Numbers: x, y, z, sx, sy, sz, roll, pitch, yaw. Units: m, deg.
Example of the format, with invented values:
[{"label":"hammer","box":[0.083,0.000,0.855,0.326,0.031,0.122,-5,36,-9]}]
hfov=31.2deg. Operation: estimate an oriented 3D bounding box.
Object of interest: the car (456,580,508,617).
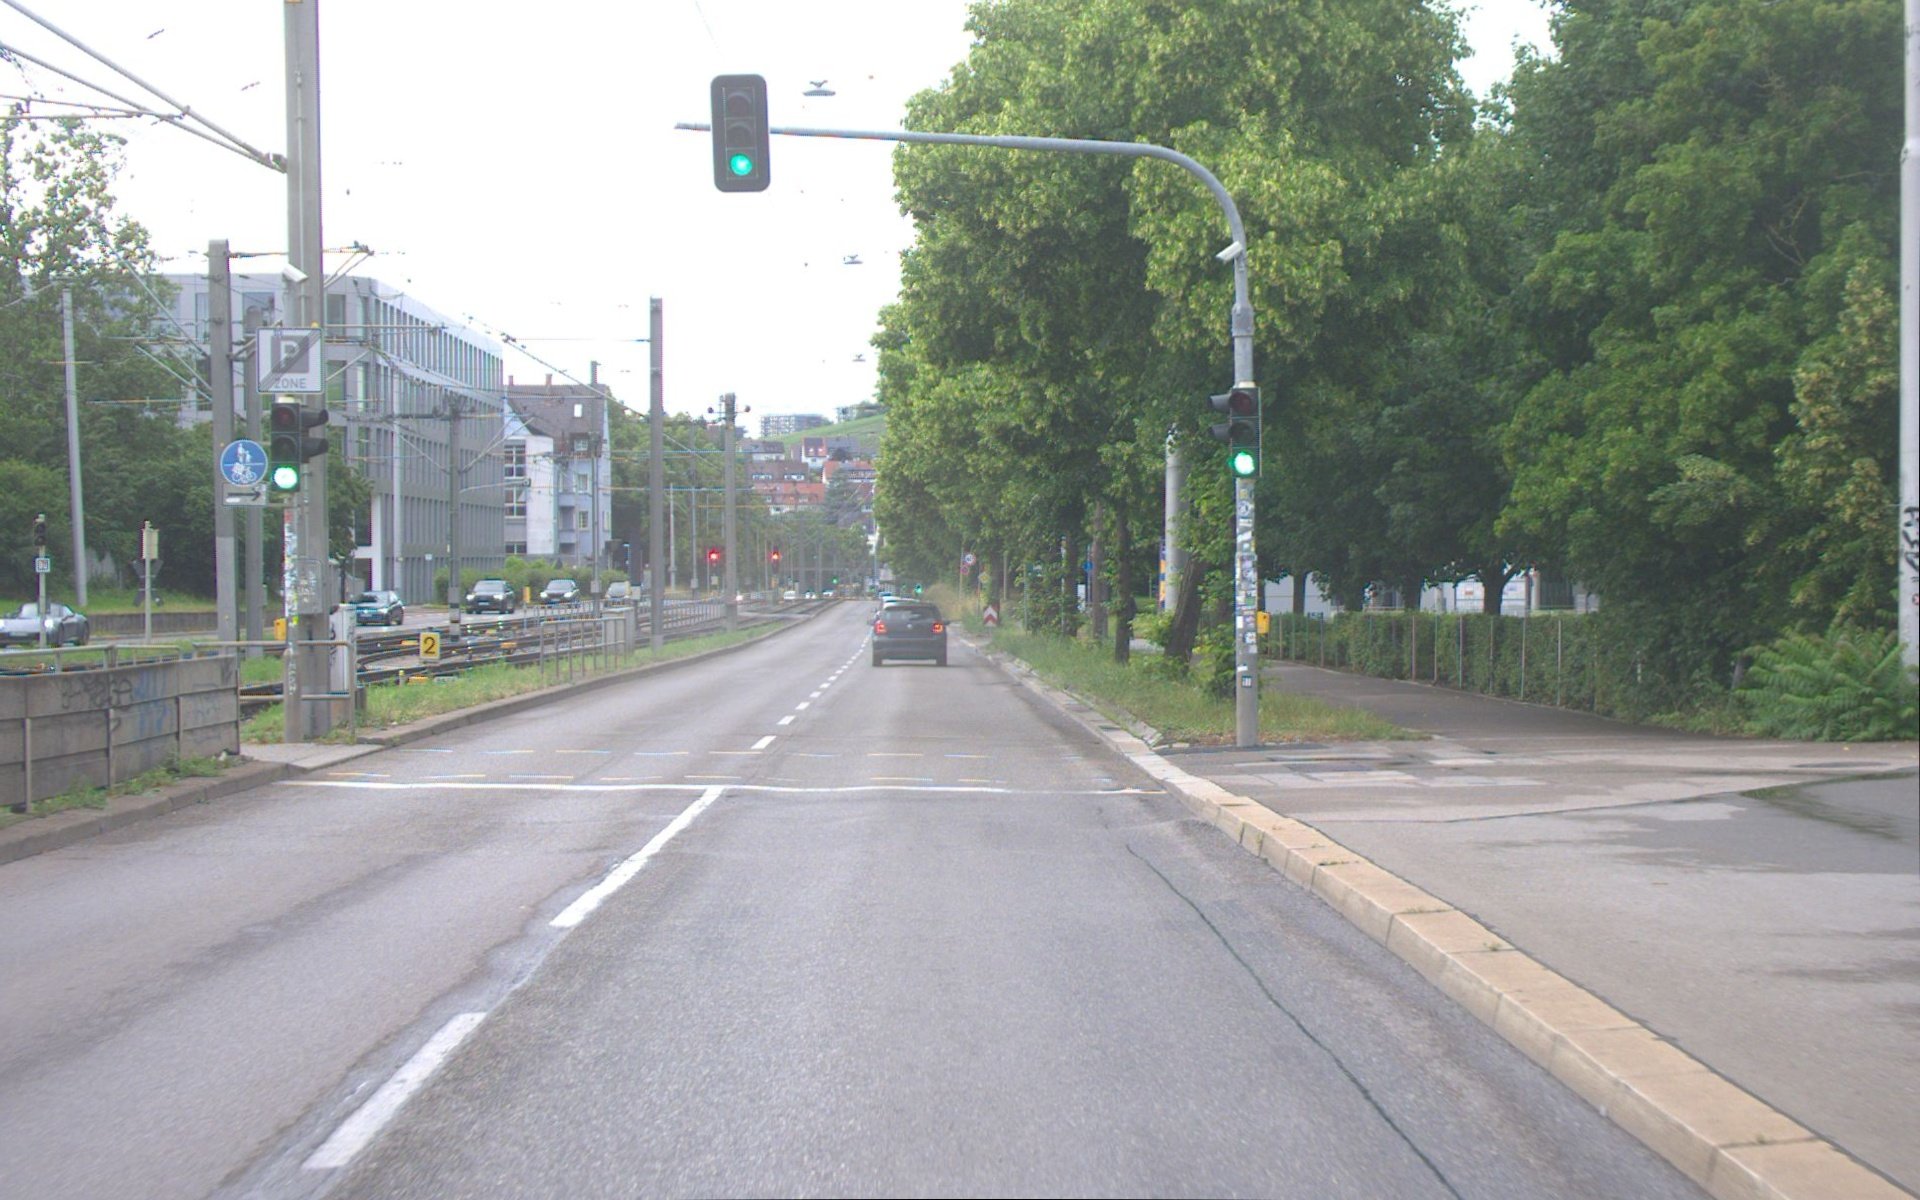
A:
[{"label":"car","box":[-24.100,-0.101,173.346,1.850,1.626,3.609,3,3,4]}]

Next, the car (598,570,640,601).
[{"label":"car","box":[-20.479,-0.888,206.466,1.850,1.626,3.609,3,3,4]}]

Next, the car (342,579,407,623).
[{"label":"car","box":[-24.451,0.033,143.715,1.850,1.626,3.609,3,3,4]}]

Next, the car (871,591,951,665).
[{"label":"car","box":[-1.119,0.613,77.010,1.726,1.535,4.000,1,1,-1]}]

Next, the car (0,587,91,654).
[{"label":"car","box":[-26.221,0.550,97.581,1.850,1.626,3.812,3,3,4]}]

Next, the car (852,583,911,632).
[{"label":"car","box":[-2.372,0.214,103.978,1.726,1.420,4.000,1,0,-1]}]

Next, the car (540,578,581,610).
[{"label":"car","box":[-23.224,-0.358,200.024,1.653,1.626,3.609,3,3,4]}]
